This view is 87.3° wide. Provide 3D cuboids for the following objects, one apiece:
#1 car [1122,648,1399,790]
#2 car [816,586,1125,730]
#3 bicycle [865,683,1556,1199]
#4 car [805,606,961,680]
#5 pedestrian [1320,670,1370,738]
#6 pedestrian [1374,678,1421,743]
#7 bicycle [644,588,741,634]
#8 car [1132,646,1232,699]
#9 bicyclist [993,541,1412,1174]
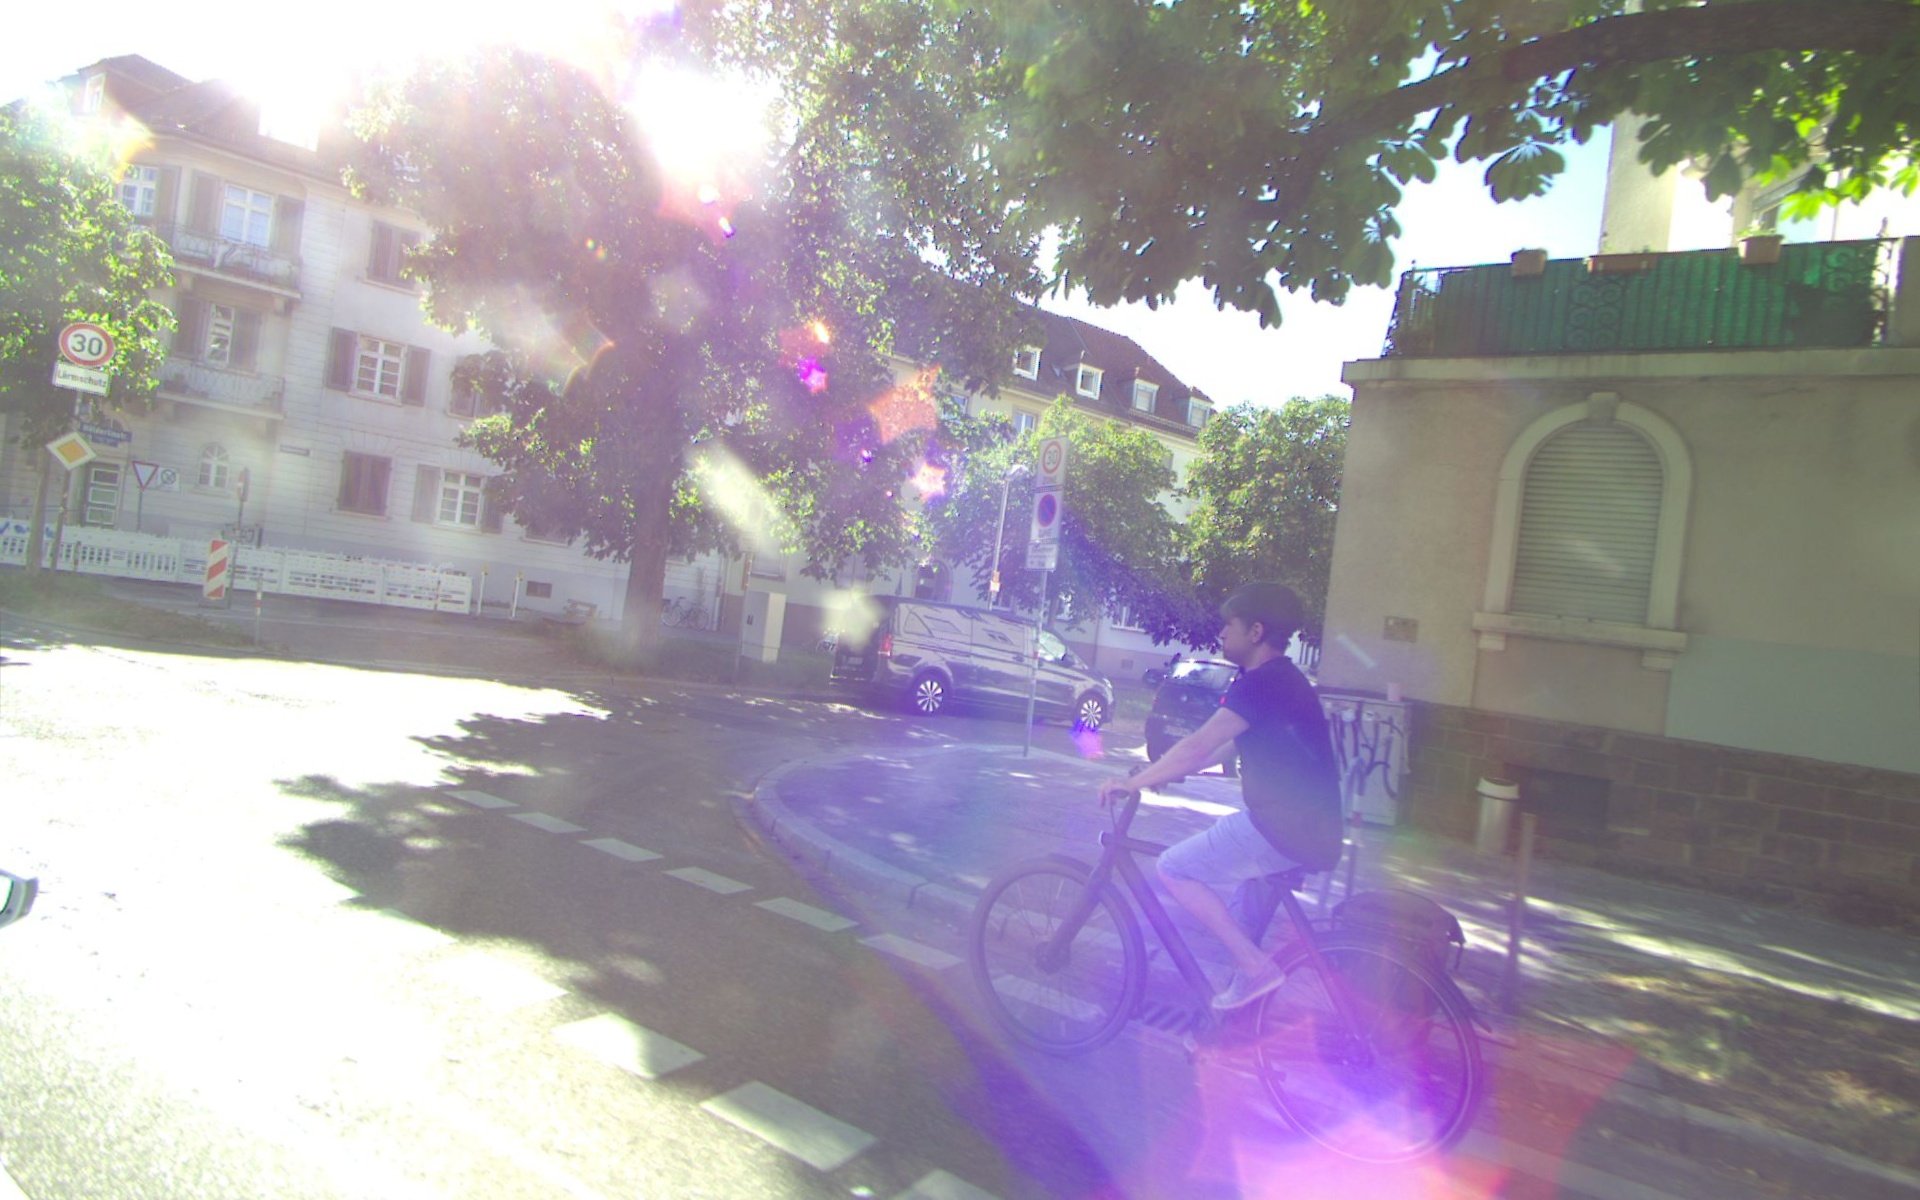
[{"bbox_3d":[4.124,1.635,13.738,3.405,1.554,1.710,8,-4,-31],"label":"car"},{"bbox_3d":[0.269,1.052,17.570,5.019,1.911,1.984,9,-3,-33],"label":"car"},{"bbox_3d":[0.798,1.075,3.496,2.061,1.256,0.763,7,-2,31],"label":"bicycle"},{"bbox_3d":[-2.183,1.244,28.819,3.934,1.505,1.770,8,1,-33],"label":"car"},{"bbox_3d":[9.656,2.601,25.224,0.569,1.586,0.836,8,-1,-35],"label":"pedestrian"},{"bbox_3d":[11.608,2.916,26.704,0.569,1.586,0.836,8,-1,-35],"label":"pedestrian"},{"bbox_3d":[-9.069,0.394,34.199,3.082,1.127,0.521,8,2,-33],"label":"bicycle"},{"bbox_3d":[9.374,3.062,42.381,3.833,1.673,1.770,8,1,-33],"label":"car"},{"bbox_3d":[0.856,0.764,3.491,1.029,1.758,0.763,7,-1,31],"label":"bicyclist"}]
